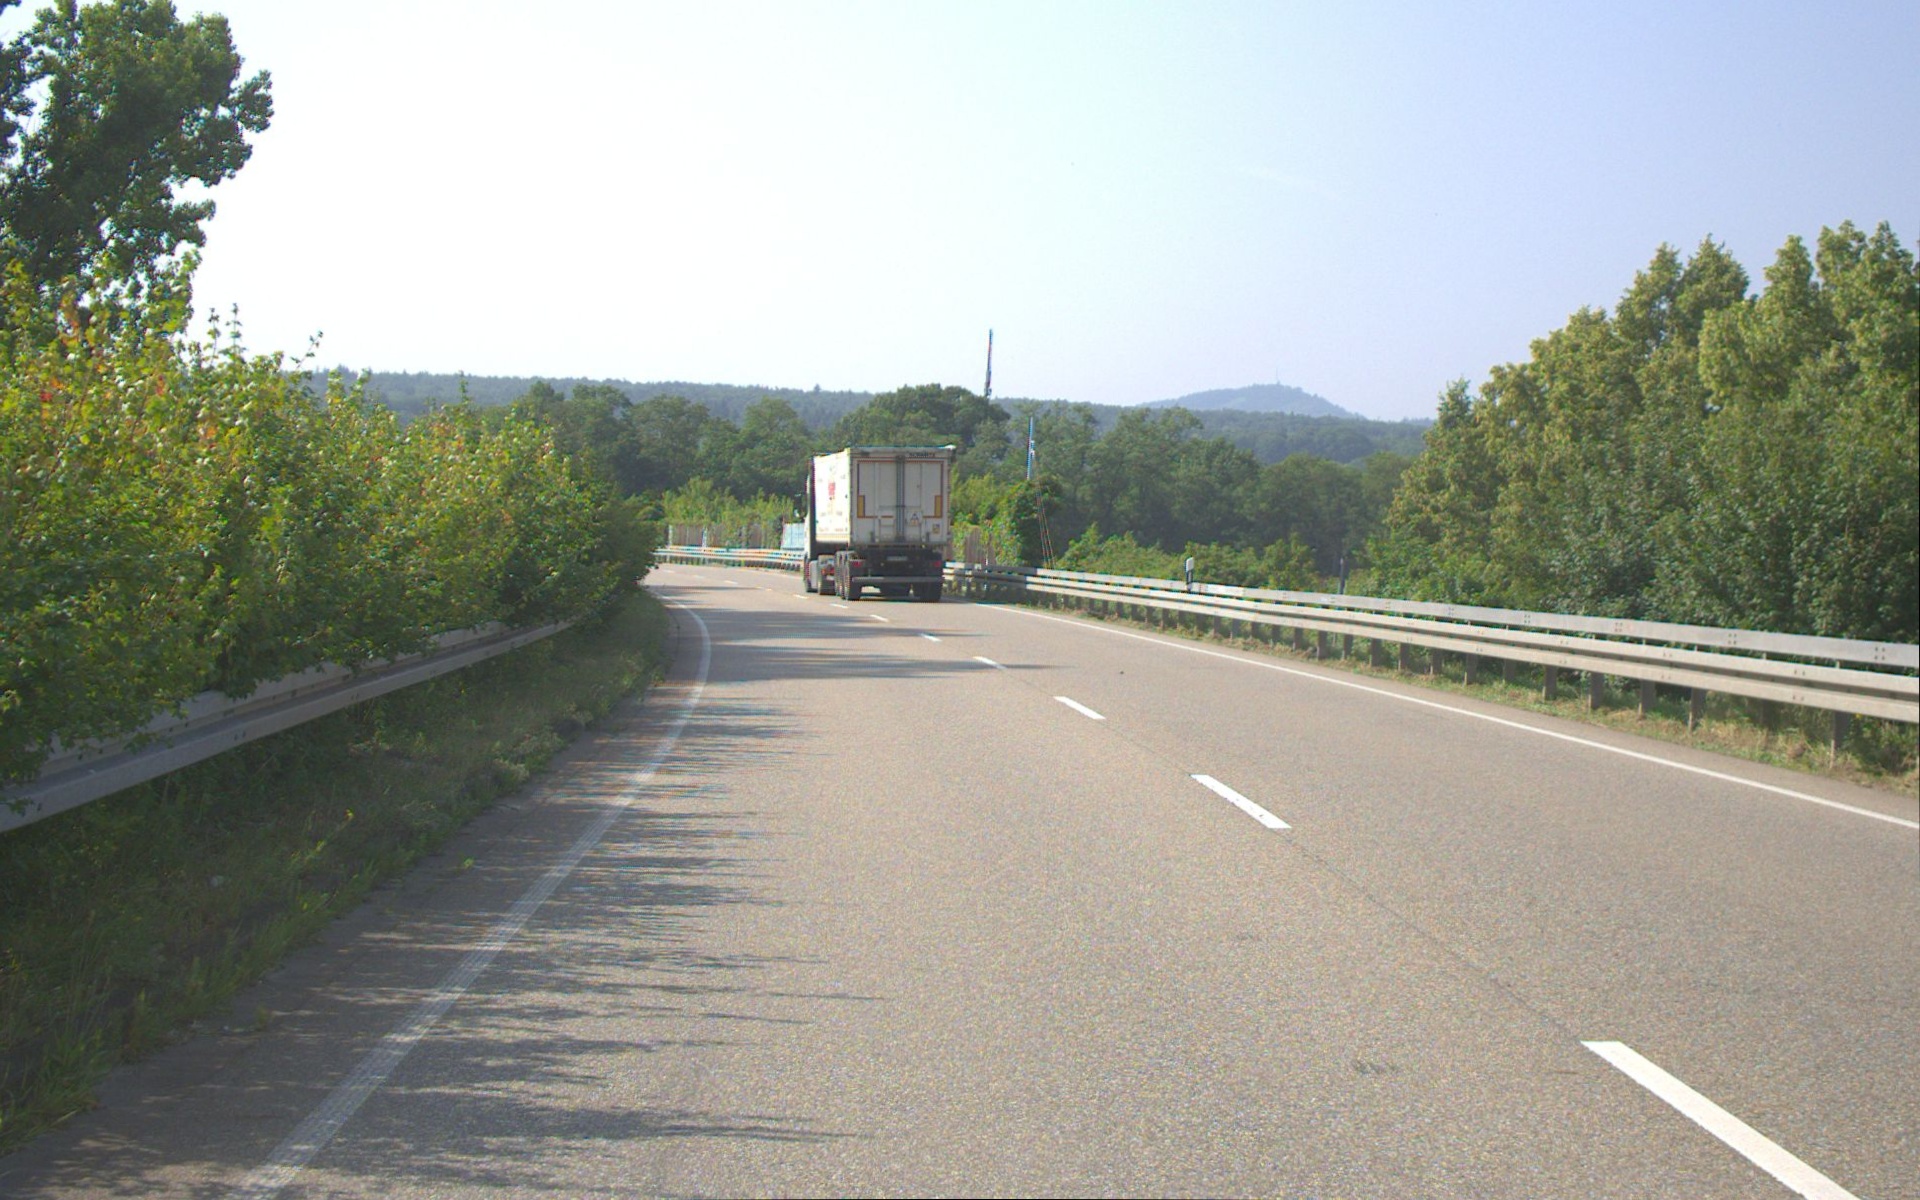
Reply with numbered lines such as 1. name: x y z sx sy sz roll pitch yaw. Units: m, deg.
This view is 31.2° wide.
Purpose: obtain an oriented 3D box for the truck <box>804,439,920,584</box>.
1. truck: -2.771 -2.477 96.004 2.658 3.882 5.649 1 1 -7

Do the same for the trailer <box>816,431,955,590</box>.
1. trailer: -2.042 -2.318 90.075 2.679 3.893 9.675 1 1 -7
